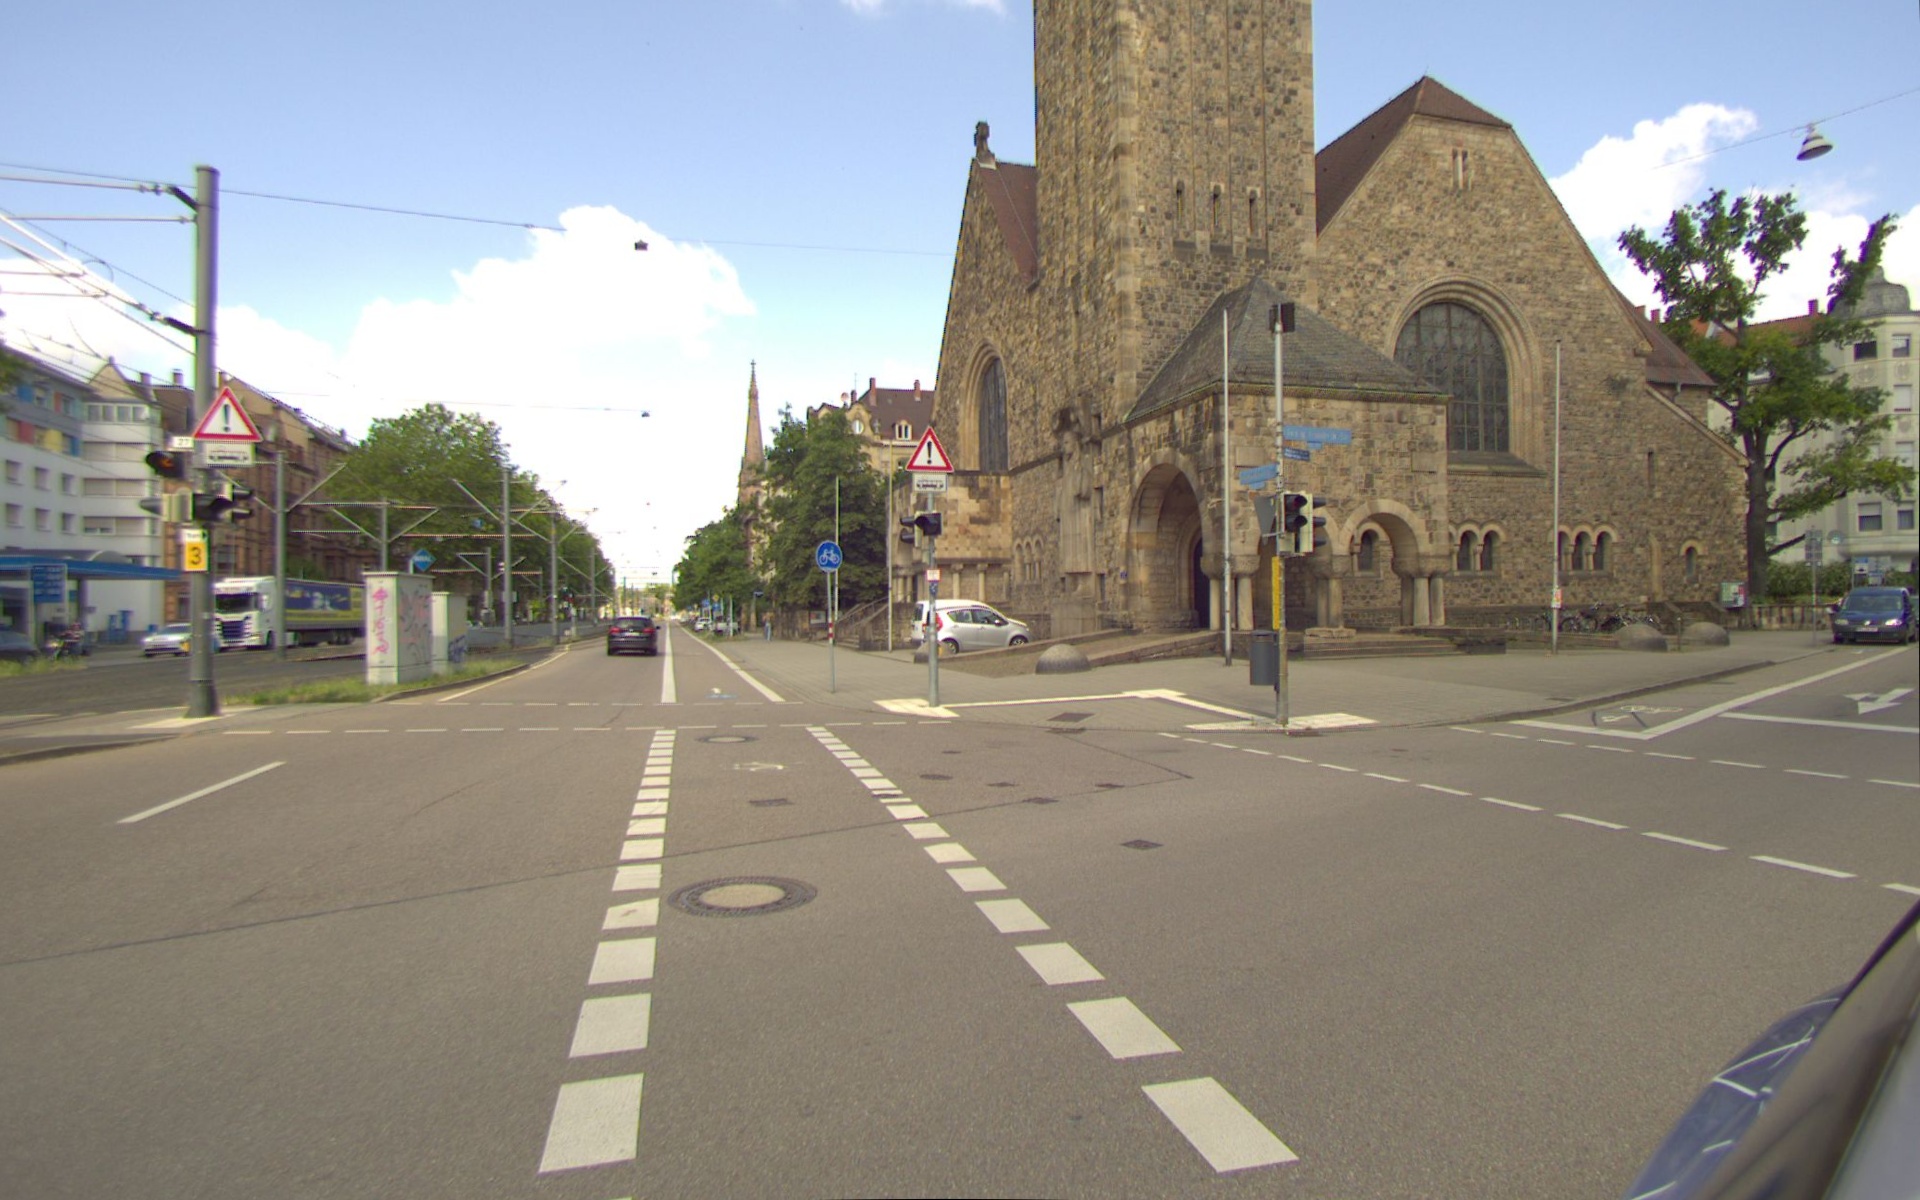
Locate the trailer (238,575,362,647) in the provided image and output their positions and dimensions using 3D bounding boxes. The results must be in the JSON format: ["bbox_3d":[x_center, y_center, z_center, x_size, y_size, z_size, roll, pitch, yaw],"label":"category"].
[{"bbox_3d":[-41.546,0.666,64.277,2.856,4.129,11.672,-1,0,-14],"label":"trailer"}]

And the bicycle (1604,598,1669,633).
[{"bbox_3d":[24.085,0.544,36.059,0.574,1.126,1.944,-1,2,-19],"label":"bicycle"}]

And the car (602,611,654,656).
[{"bbox_3d":[-12.446,1.205,37.959,1.747,1.554,4.394,0,-1,-18],"label":"car"}]

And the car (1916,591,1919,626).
[{"bbox_3d":[41.709,0.317,42.609,3.730,1.465,1.682,0,-1,-40],"label":"car"}]

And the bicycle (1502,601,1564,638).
[{"bbox_3d":[19.569,0.650,34.612,0.574,1.126,1.944,-1,2,-19],"label":"bicycle"}]

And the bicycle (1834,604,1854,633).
[{"bbox_3d":[33.818,0.706,38.709,0.479,1.065,1.420,-2,-1,44],"label":"bicycle"}]

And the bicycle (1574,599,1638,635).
[{"bbox_3d":[22.659,0.577,35.519,0.574,1.126,1.944,-1,2,-19],"label":"bicycle"}]

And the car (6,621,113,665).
[{"bbox_3d":[-35.103,1.648,39.570,1.651,1.583,3.760,-1,-1,-16],"label":"car"}]

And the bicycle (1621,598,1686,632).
[{"bbox_3d":[24.843,0.526,36.272,0.574,1.126,1.944,-1,2,-19],"label":"bicycle"}]

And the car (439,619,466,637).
[{"bbox_3d":[-52.603,2.876,104.961,1.766,1.651,4.008,-1,0,-15],"label":"car"}]

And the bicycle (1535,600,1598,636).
[{"bbox_3d":[21.020,0.616,35.139,0.574,1.126,1.944,-1,2,-19],"label":"bicycle"}]

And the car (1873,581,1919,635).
[{"bbox_3d":[33.528,0.257,35.500,3.929,1.814,1.682,0,-1,-40],"label":"car"}]

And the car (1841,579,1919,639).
[{"bbox_3d":[29.629,0.275,32.262,4.072,1.814,1.682,0,-1,-40],"label":"car"}]

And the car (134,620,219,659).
[{"bbox_3d":[-37.932,1.864,49.132,1.815,1.727,4.142,-1,-1,-15],"label":"car"}]

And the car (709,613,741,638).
[{"bbox_3d":[-14.848,1.604,63.812,1.752,1.514,3.844,-1,-1,-16],"label":"car"}]

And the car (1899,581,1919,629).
[{"bbox_3d":[38.232,0.162,39.597,3.929,1.814,1.682,0,-1,-40],"label":"car"}]

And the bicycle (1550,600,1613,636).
[{"bbox_3d":[21.688,0.600,35.355,0.574,1.126,1.944,-1,2,-19],"label":"bicycle"}]

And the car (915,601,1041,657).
[{"bbox_3d":[0.537,0.925,31.967,3.561,1.700,1.822,1,-3,-19],"label":"car"}]

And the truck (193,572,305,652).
[{"bbox_3d":[-39.794,0.637,56.896,2.856,4.202,6.603,-1,0,-13],"label":"truck"}]

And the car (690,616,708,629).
[{"bbox_3d":[-25.553,2.182,98.964,1.621,1.249,3.069,-1,-1,-16],"label":"car"}]

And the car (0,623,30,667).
[{"bbox_3d":[-33.221,1.544,33.574,1.816,1.465,3.981,-1,0,-15],"label":"car"}]

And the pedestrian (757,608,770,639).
[{"bbox_3d":[-10.861,1.284,55.903,0.645,1.686,0.847,-1,-1,-14],"label":"pedestrian"}]

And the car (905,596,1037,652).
[{"bbox_3d":[0.366,0.852,35.536,4.214,1.878,2.003,0,-2,-16],"label":"car"}]
